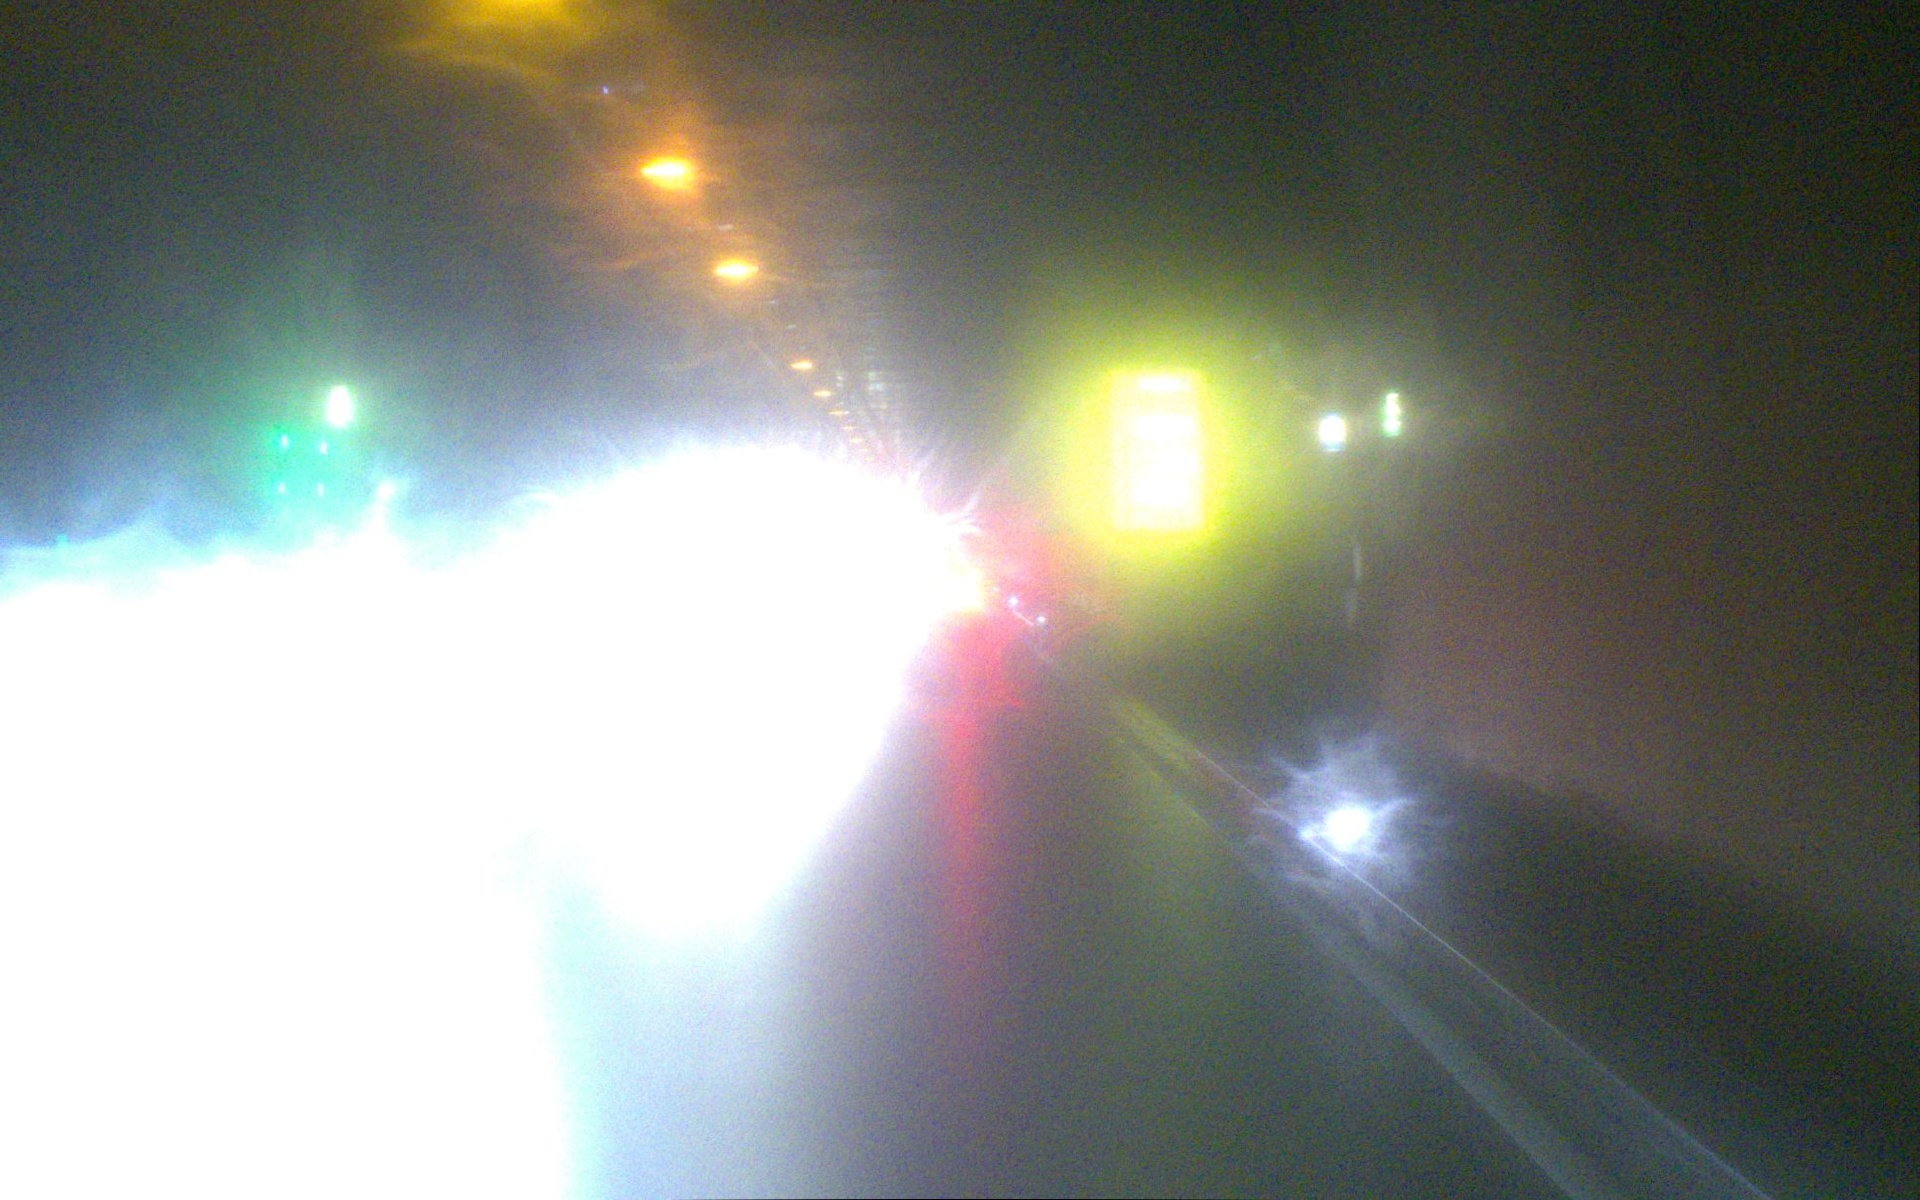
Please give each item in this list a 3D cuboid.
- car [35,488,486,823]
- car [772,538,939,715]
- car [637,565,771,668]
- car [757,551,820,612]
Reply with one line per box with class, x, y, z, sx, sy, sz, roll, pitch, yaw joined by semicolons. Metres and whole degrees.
car;-3.814;0.242;19.425;1.697;1.670;4.127;-1;1;0
car;-1.061;0.225;36.467;1.635;1.752;4.146;-1;1;0
car;-3.955;0.224;53.676;1.748;1.475;4.476;-1;1;0
car;-4.664;-0.526;94.020;1.520;1.544;4.054;-1;2;0
